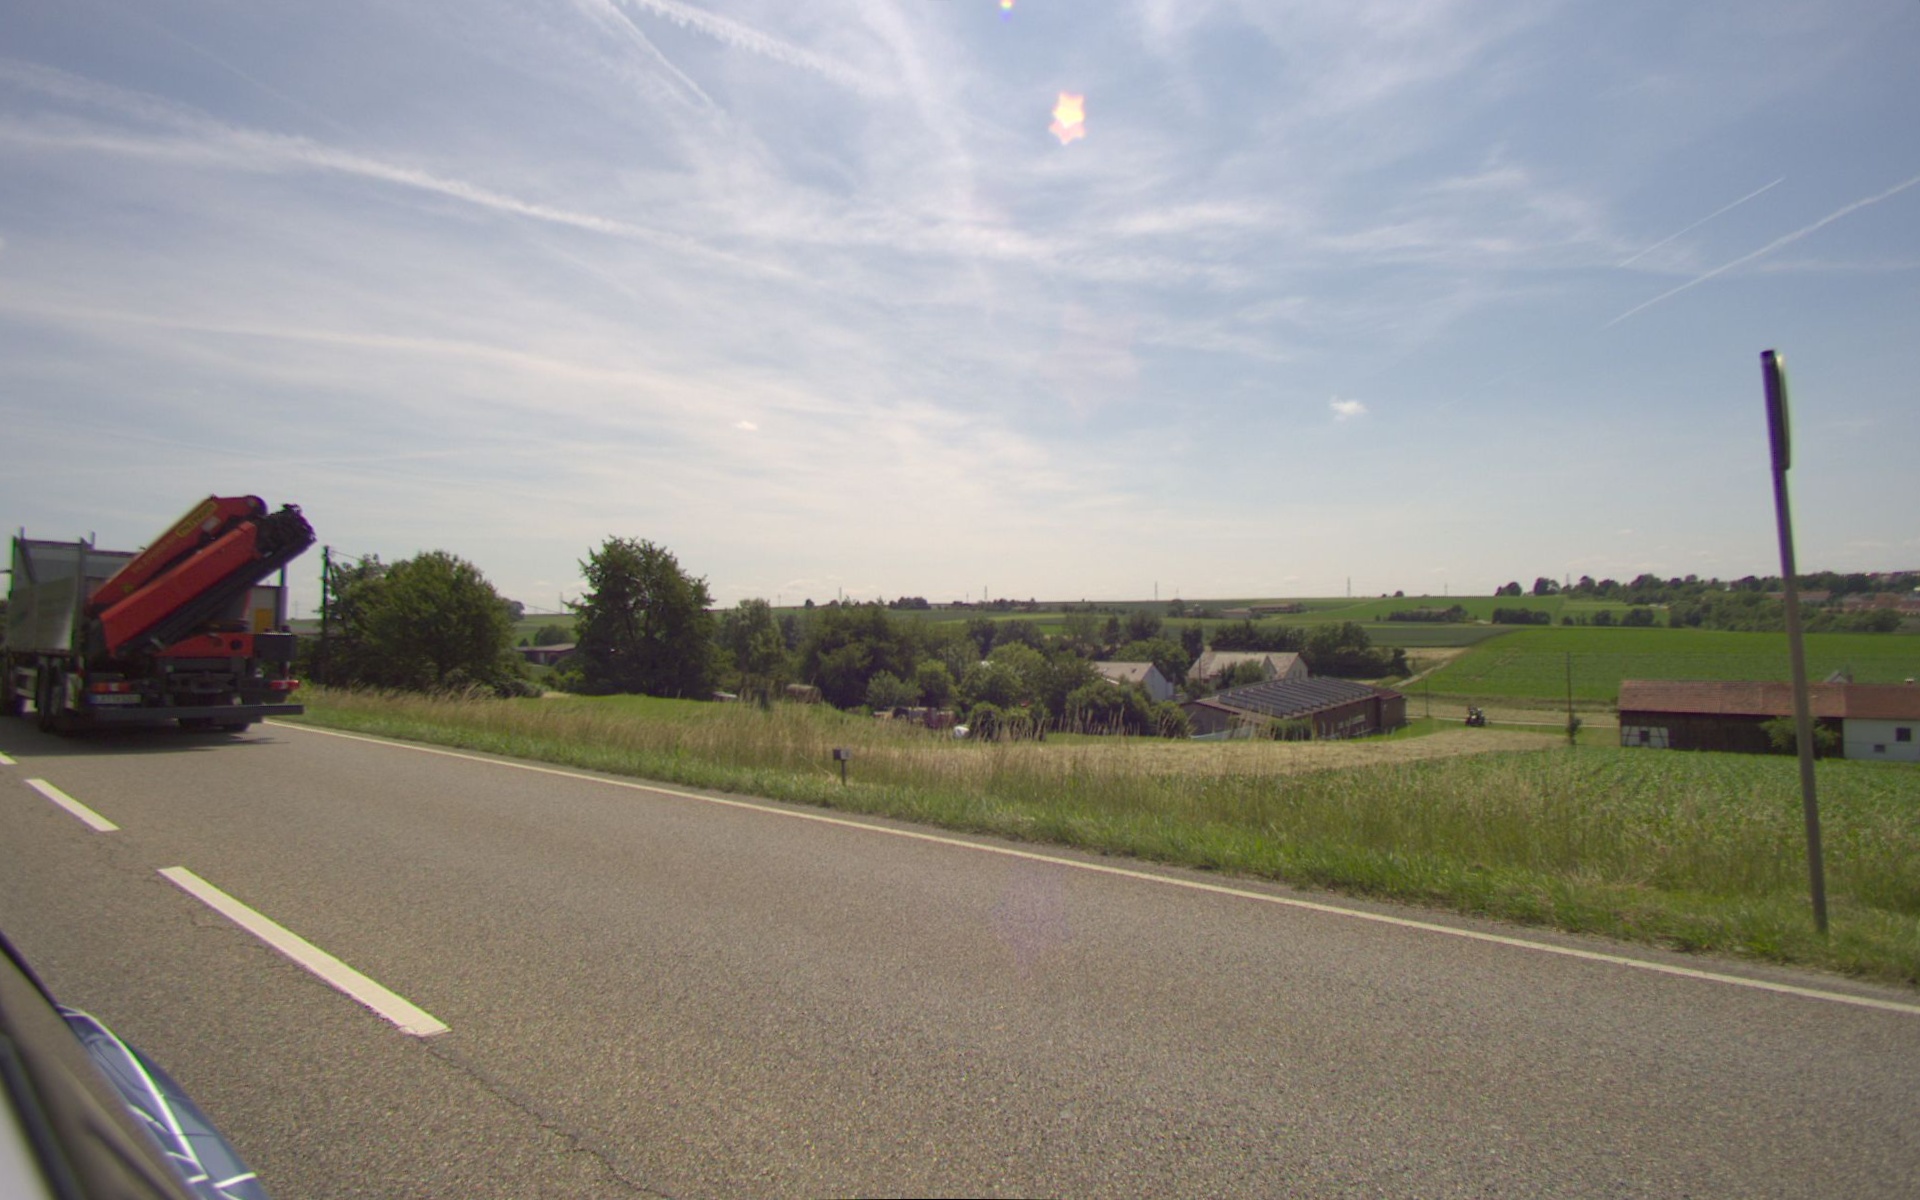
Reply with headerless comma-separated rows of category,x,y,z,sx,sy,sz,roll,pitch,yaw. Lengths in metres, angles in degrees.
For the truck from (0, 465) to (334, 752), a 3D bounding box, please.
truck,-14.262,0.354,17.315,11.058,3.604,2.728,-3,-5,41
